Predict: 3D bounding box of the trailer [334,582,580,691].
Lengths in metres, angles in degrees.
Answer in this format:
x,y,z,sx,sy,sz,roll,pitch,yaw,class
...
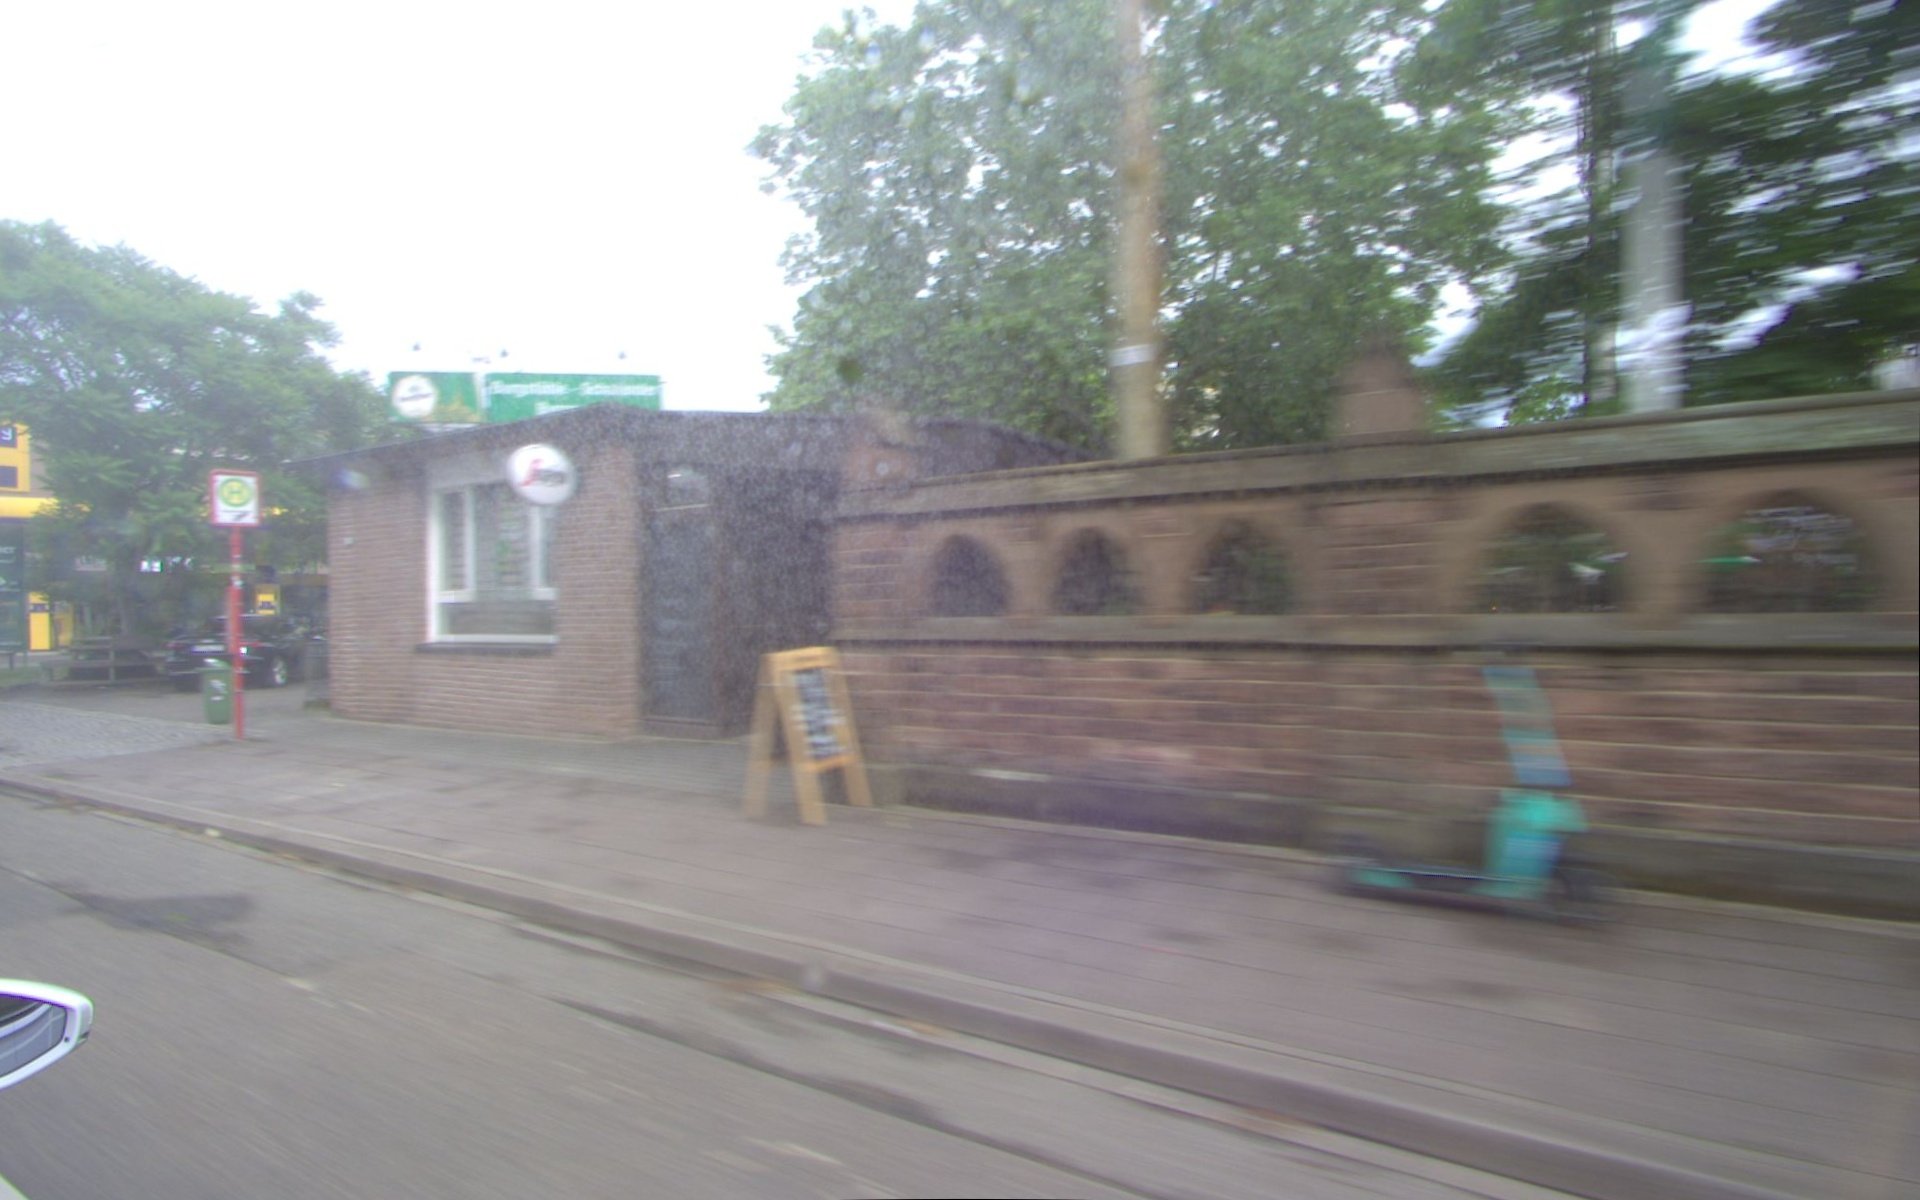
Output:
x,y,z,sx,sy,sz,roll,pitch,yaw,class
-7.952,0.562,16.042,1.598,1.559,3.155,-1,-1,33,trailer

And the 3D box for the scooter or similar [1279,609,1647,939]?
x,y,z,sx,sy,sz,roll,pitch,yaw,class
2.225,0.691,4.497,1.390,1.256,0.575,-1,3,33,scooter or similar

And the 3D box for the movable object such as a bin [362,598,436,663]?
x,y,z,sx,sy,sz,roll,pitch,yaw,class
-14.079,0.752,25.180,1.397,1.536,1.121,1,3,-16,movable object such as a bin

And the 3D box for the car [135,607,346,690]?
x,y,z,sx,sy,sz,roll,pitch,yaw,class
-14.401,0.889,20.404,1.900,1.426,4.577,0,0,-14,car
